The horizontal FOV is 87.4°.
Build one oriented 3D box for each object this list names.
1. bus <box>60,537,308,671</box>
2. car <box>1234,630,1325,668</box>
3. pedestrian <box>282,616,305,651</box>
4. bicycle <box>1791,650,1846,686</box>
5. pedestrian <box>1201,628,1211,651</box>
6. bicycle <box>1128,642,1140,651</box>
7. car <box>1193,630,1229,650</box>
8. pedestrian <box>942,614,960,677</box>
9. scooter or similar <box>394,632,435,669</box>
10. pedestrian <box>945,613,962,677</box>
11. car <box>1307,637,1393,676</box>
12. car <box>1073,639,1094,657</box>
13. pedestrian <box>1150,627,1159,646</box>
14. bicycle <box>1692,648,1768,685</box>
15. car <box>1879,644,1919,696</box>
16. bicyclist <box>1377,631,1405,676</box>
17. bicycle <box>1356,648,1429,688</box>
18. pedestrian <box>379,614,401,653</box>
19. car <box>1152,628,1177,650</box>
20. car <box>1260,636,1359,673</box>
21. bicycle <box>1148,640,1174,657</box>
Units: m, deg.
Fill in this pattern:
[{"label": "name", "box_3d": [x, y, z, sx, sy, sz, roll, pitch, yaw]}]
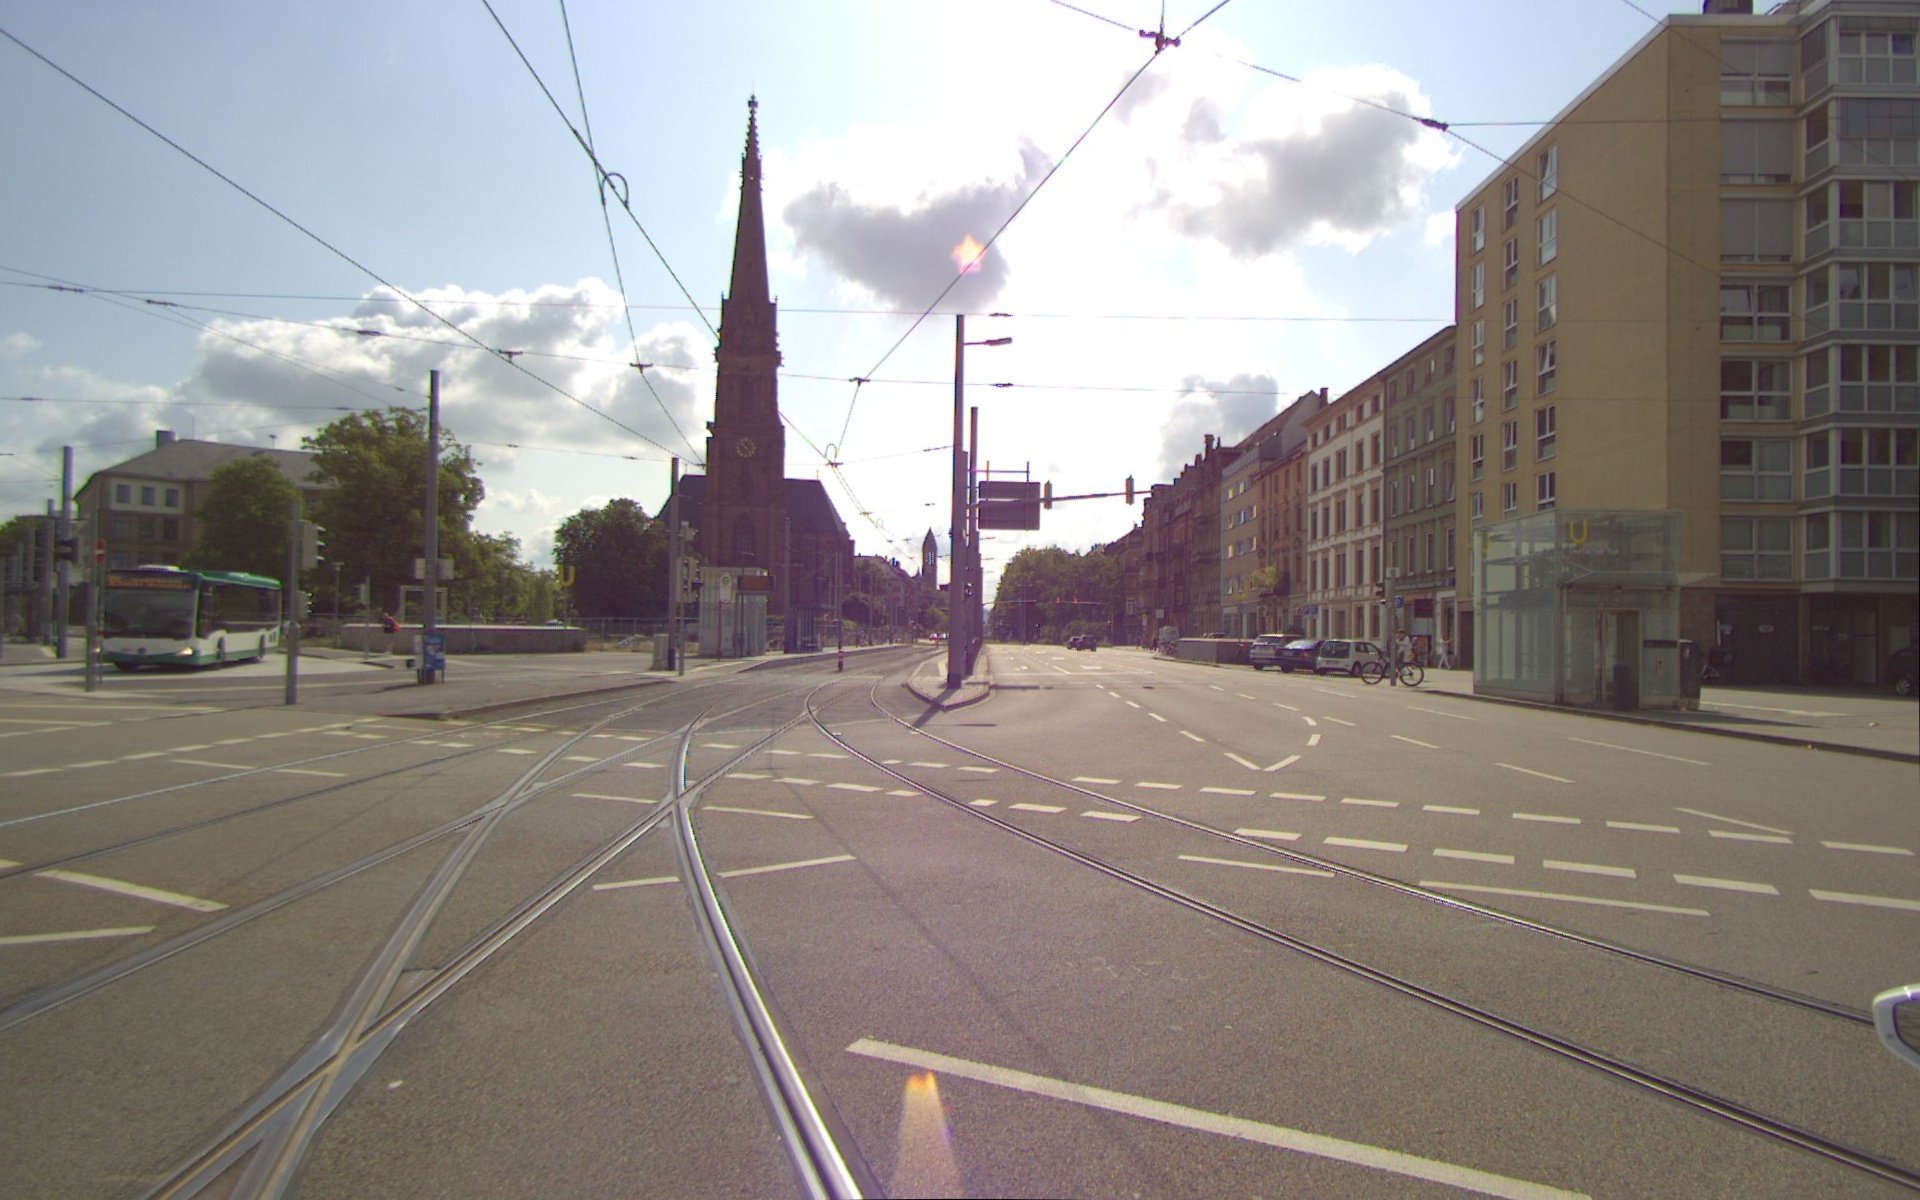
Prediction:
[{"label": "bus", "box_3d": [-25.305, 0.313, 33.785, 2.872, 3.668, 12.322, 1, -2, -20]}, {"label": "car", "box_3d": [15.029, 2.285, 47.203, 4.561, 1.669, 2.037, 2, -2, -41]}, {"label": "pedestrian", "box_3d": [-33.473, 1.682, 50.437, 0.710, 1.694, 0.778, -1, -2, 40]}, {"label": "bicycle", "box_3d": [29.266, 2.301, 34.243, 1.320, 1.144, 0.594, 1, 1, 5]}, {"label": "pedestrian", "box_3d": [22.749, 3.643, 92.834, 0.709, 2.127, 0.786, 1, 1, 2]}, {"label": "bicycle", "box_3d": [25.266, 6.809, 146.053, 1.739, 1.285, 0.467, 1, 1, 5]}, {"label": "car", "box_3d": [24.268, 3.874, 97.218, 1.962, 1.886, 4.751, 1, -3, -4]}, {"label": "pedestrian", "box_3d": [-0.298, 1.500, 32.993, 0.494, 2.040, 0.515, 1, -1, -10]}, {"label": "scooter or similar", "box_3d": [-17.782, 1.643, 32.757, 0.798, 1.182, 1.167, 1, -2, -8]}, {"label": "pedestrian", "box_3d": [-0.213, 1.443, 32.309, 0.419, 2.040, 0.577, 1, -1, -10]}, {"label": "car", "box_3d": [15.765, 2.287, 40.586, 3.468, 1.472, 1.759, 4, -3, -39]}, {"label": "car", "box_3d": [12.888, 4.992, 105.089, 1.661, 1.734, 3.608, 1, 0, 0]}, {"label": "pedestrian", "box_3d": [19.953, 3.782, 102.903, 0.654, 1.928, 0.692, 1, -2, -17]}, {"label": "bicycle", "box_3d": [26.210, 2.259, 34.207, 2.153, 1.218, 0.478, 1, 1, 1]}, {"label": "car", "box_3d": [29.521, 2.082, 29.279, 1.773, 1.534, 4.096, 1, -2, 1]}, {"label": "bicyclist", "box_3d": [13.523, 1.662, 31.523, 0.770, 1.354, 0.394, 1, 1, 29]}, {"label": "bicycle", "box_3d": [13.551, 2.121, 31.491, 2.062, 1.121, 0.543, 1, 1, 29]}, {"label": "pedestrian", "box_3d": [-26.491, 1.546, 46.668, 0.555, 1.817, 0.716, -1, -2, 44]}, {"label": "car", "box_3d": [24.239, 4.620, 119.266, 1.960, 2.558, 5.891, 1, -2, 2]}, {"label": "car", "box_3d": [15.126, 2.346, 43.389, 4.560, 1.479, 1.918, 3, -2, -38]}, {"label": "bicycle", "box_3d": [14.935, 3.618, 74.632, 1.896, 1.254, 0.440, 1, 1, -12]}]
